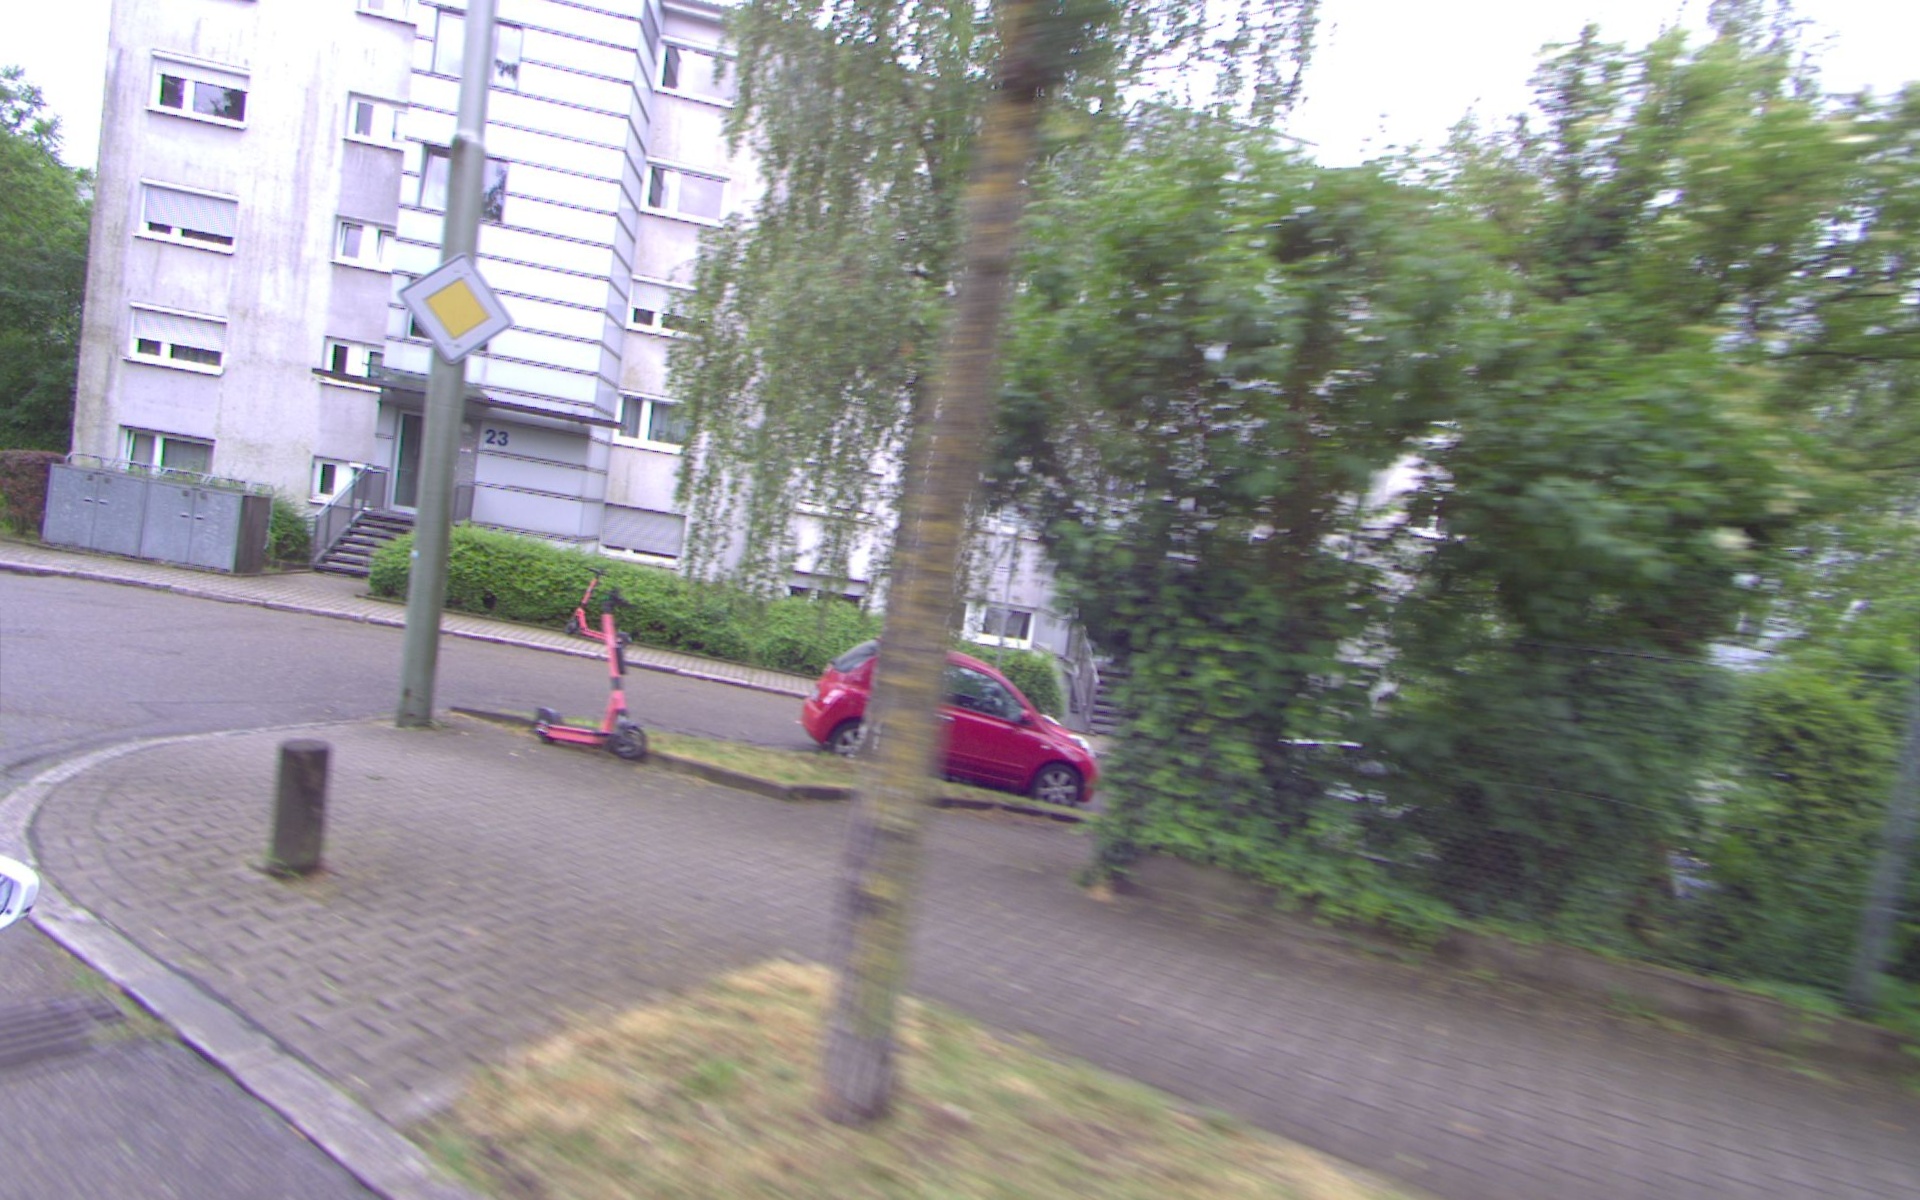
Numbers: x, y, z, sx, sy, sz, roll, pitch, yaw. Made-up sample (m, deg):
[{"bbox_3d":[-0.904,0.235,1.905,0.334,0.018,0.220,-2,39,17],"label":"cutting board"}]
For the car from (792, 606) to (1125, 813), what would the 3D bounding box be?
[{"bbox_3d":[-0.101,1.261,11.990,3.516,1.540,1.640,13,1,-10],"label":"car"}]

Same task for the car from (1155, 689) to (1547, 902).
[{"bbox_3d":[5.001,2.492,13.089,4.310,1.557,1.724,14,-1,-10],"label":"car"}]

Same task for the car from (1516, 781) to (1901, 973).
[{"bbox_3d":[10.299,3.798,13.962,4.238,1.436,1.724,14,-1,-10],"label":"car"}]

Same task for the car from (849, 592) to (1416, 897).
[{"bbox_3d":[1.240,0.959,7.825,3.933,1.451,1.507,8,-2,31],"label":"car"}]

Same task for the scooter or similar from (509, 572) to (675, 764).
[{"bbox_3d":[-2.782,0.487,7.563,1.246,1.269,0.343,6,-1,31],"label":"scooter or similar"}]

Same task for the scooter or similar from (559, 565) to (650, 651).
[{"bbox_3d":[-6.027,0.128,17.087,1.183,1.200,0.496,11,5,-3],"label":"scooter or similar"}]
